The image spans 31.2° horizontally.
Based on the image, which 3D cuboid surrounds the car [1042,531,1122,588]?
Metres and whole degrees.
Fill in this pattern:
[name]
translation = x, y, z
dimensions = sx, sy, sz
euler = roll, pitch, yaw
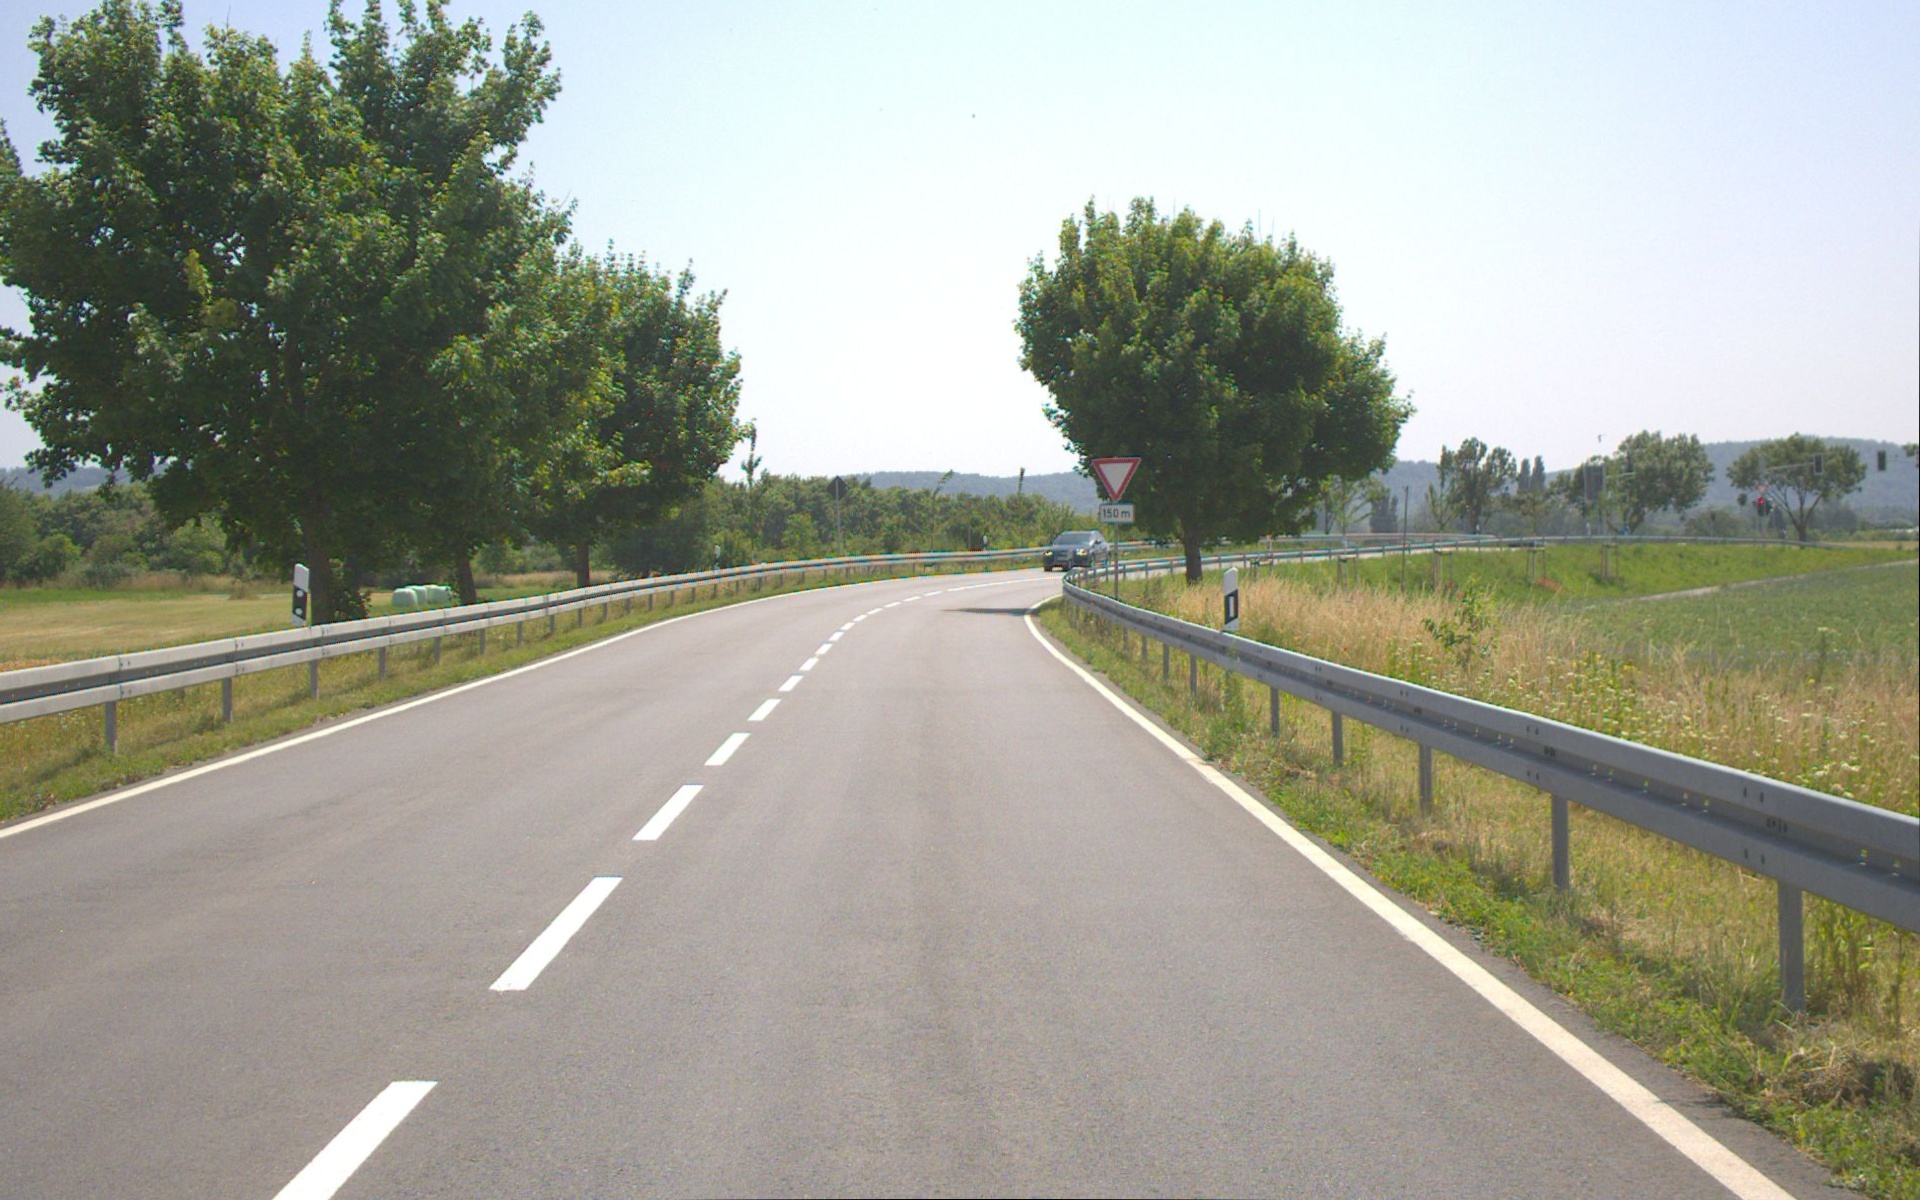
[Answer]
[car]
translation = 4.538, -1.494, 127.402
dimensions = 1.995, 2.007, 3.997
euler = 1, 0, 16
